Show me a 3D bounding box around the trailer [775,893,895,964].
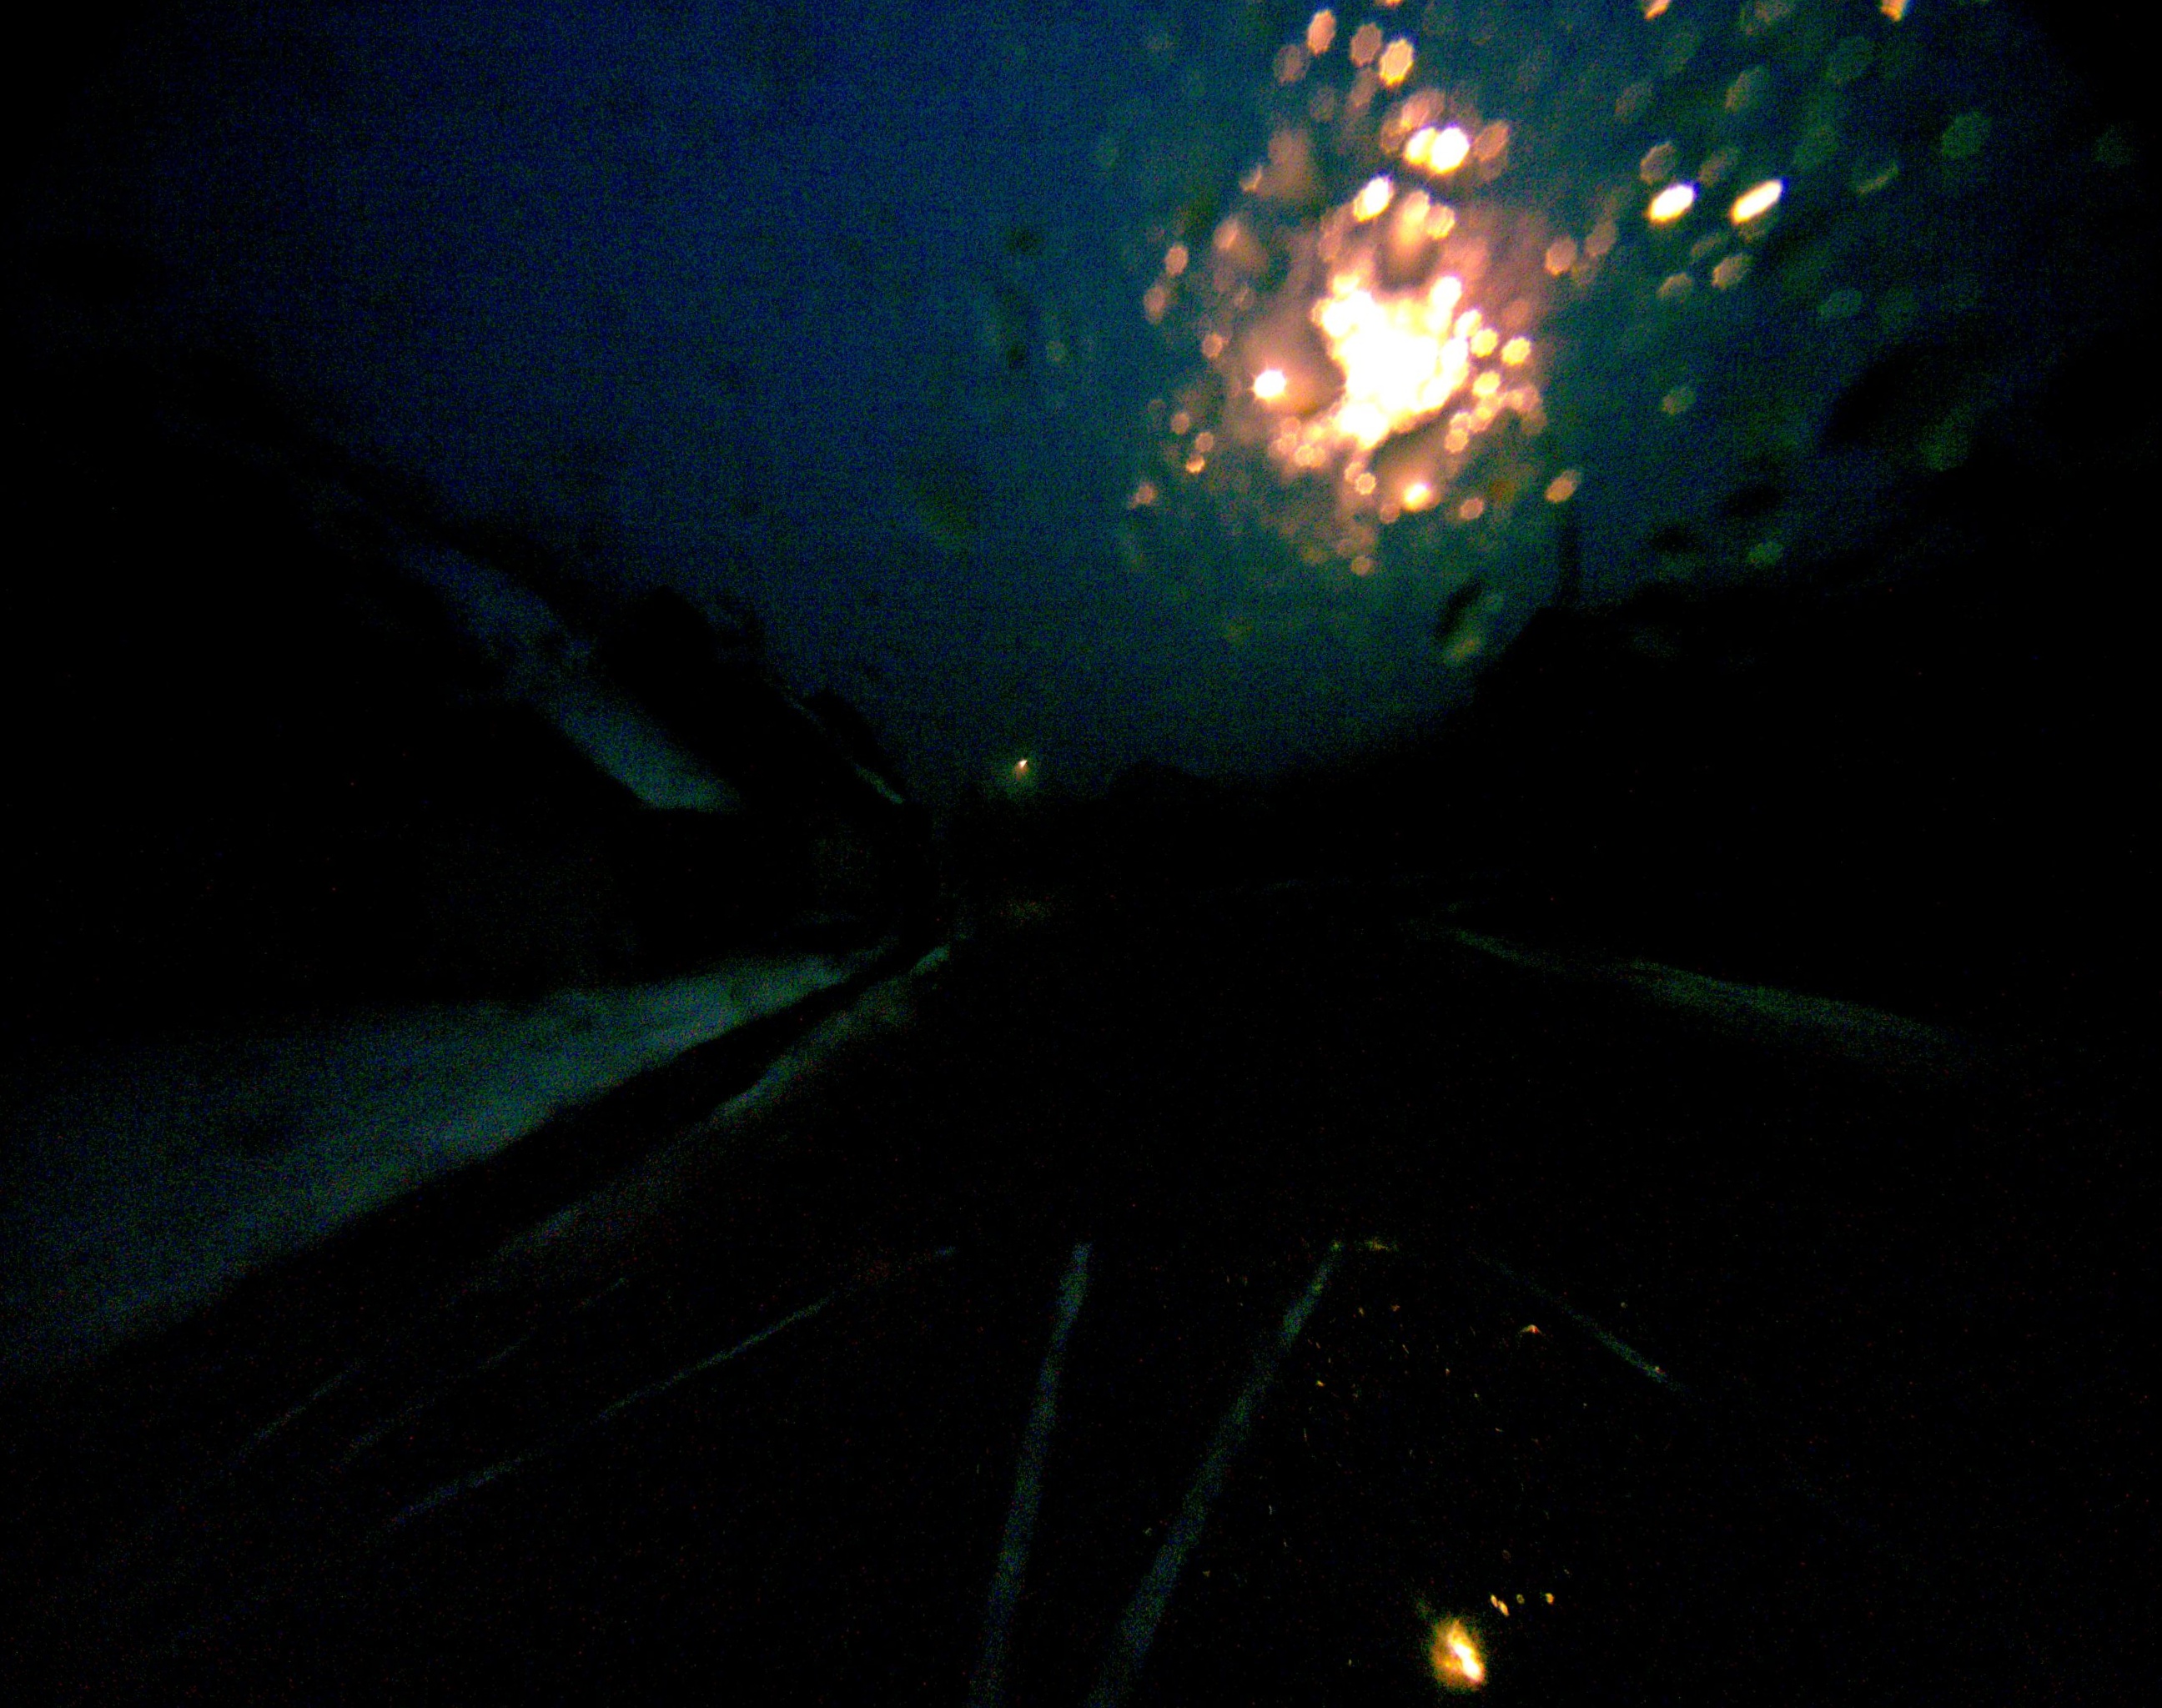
[{"bbox_3d":[-4.752,1.305,14.345,1.552,0.940,3.991,-1,0,-27],"label":"trailer"}]
